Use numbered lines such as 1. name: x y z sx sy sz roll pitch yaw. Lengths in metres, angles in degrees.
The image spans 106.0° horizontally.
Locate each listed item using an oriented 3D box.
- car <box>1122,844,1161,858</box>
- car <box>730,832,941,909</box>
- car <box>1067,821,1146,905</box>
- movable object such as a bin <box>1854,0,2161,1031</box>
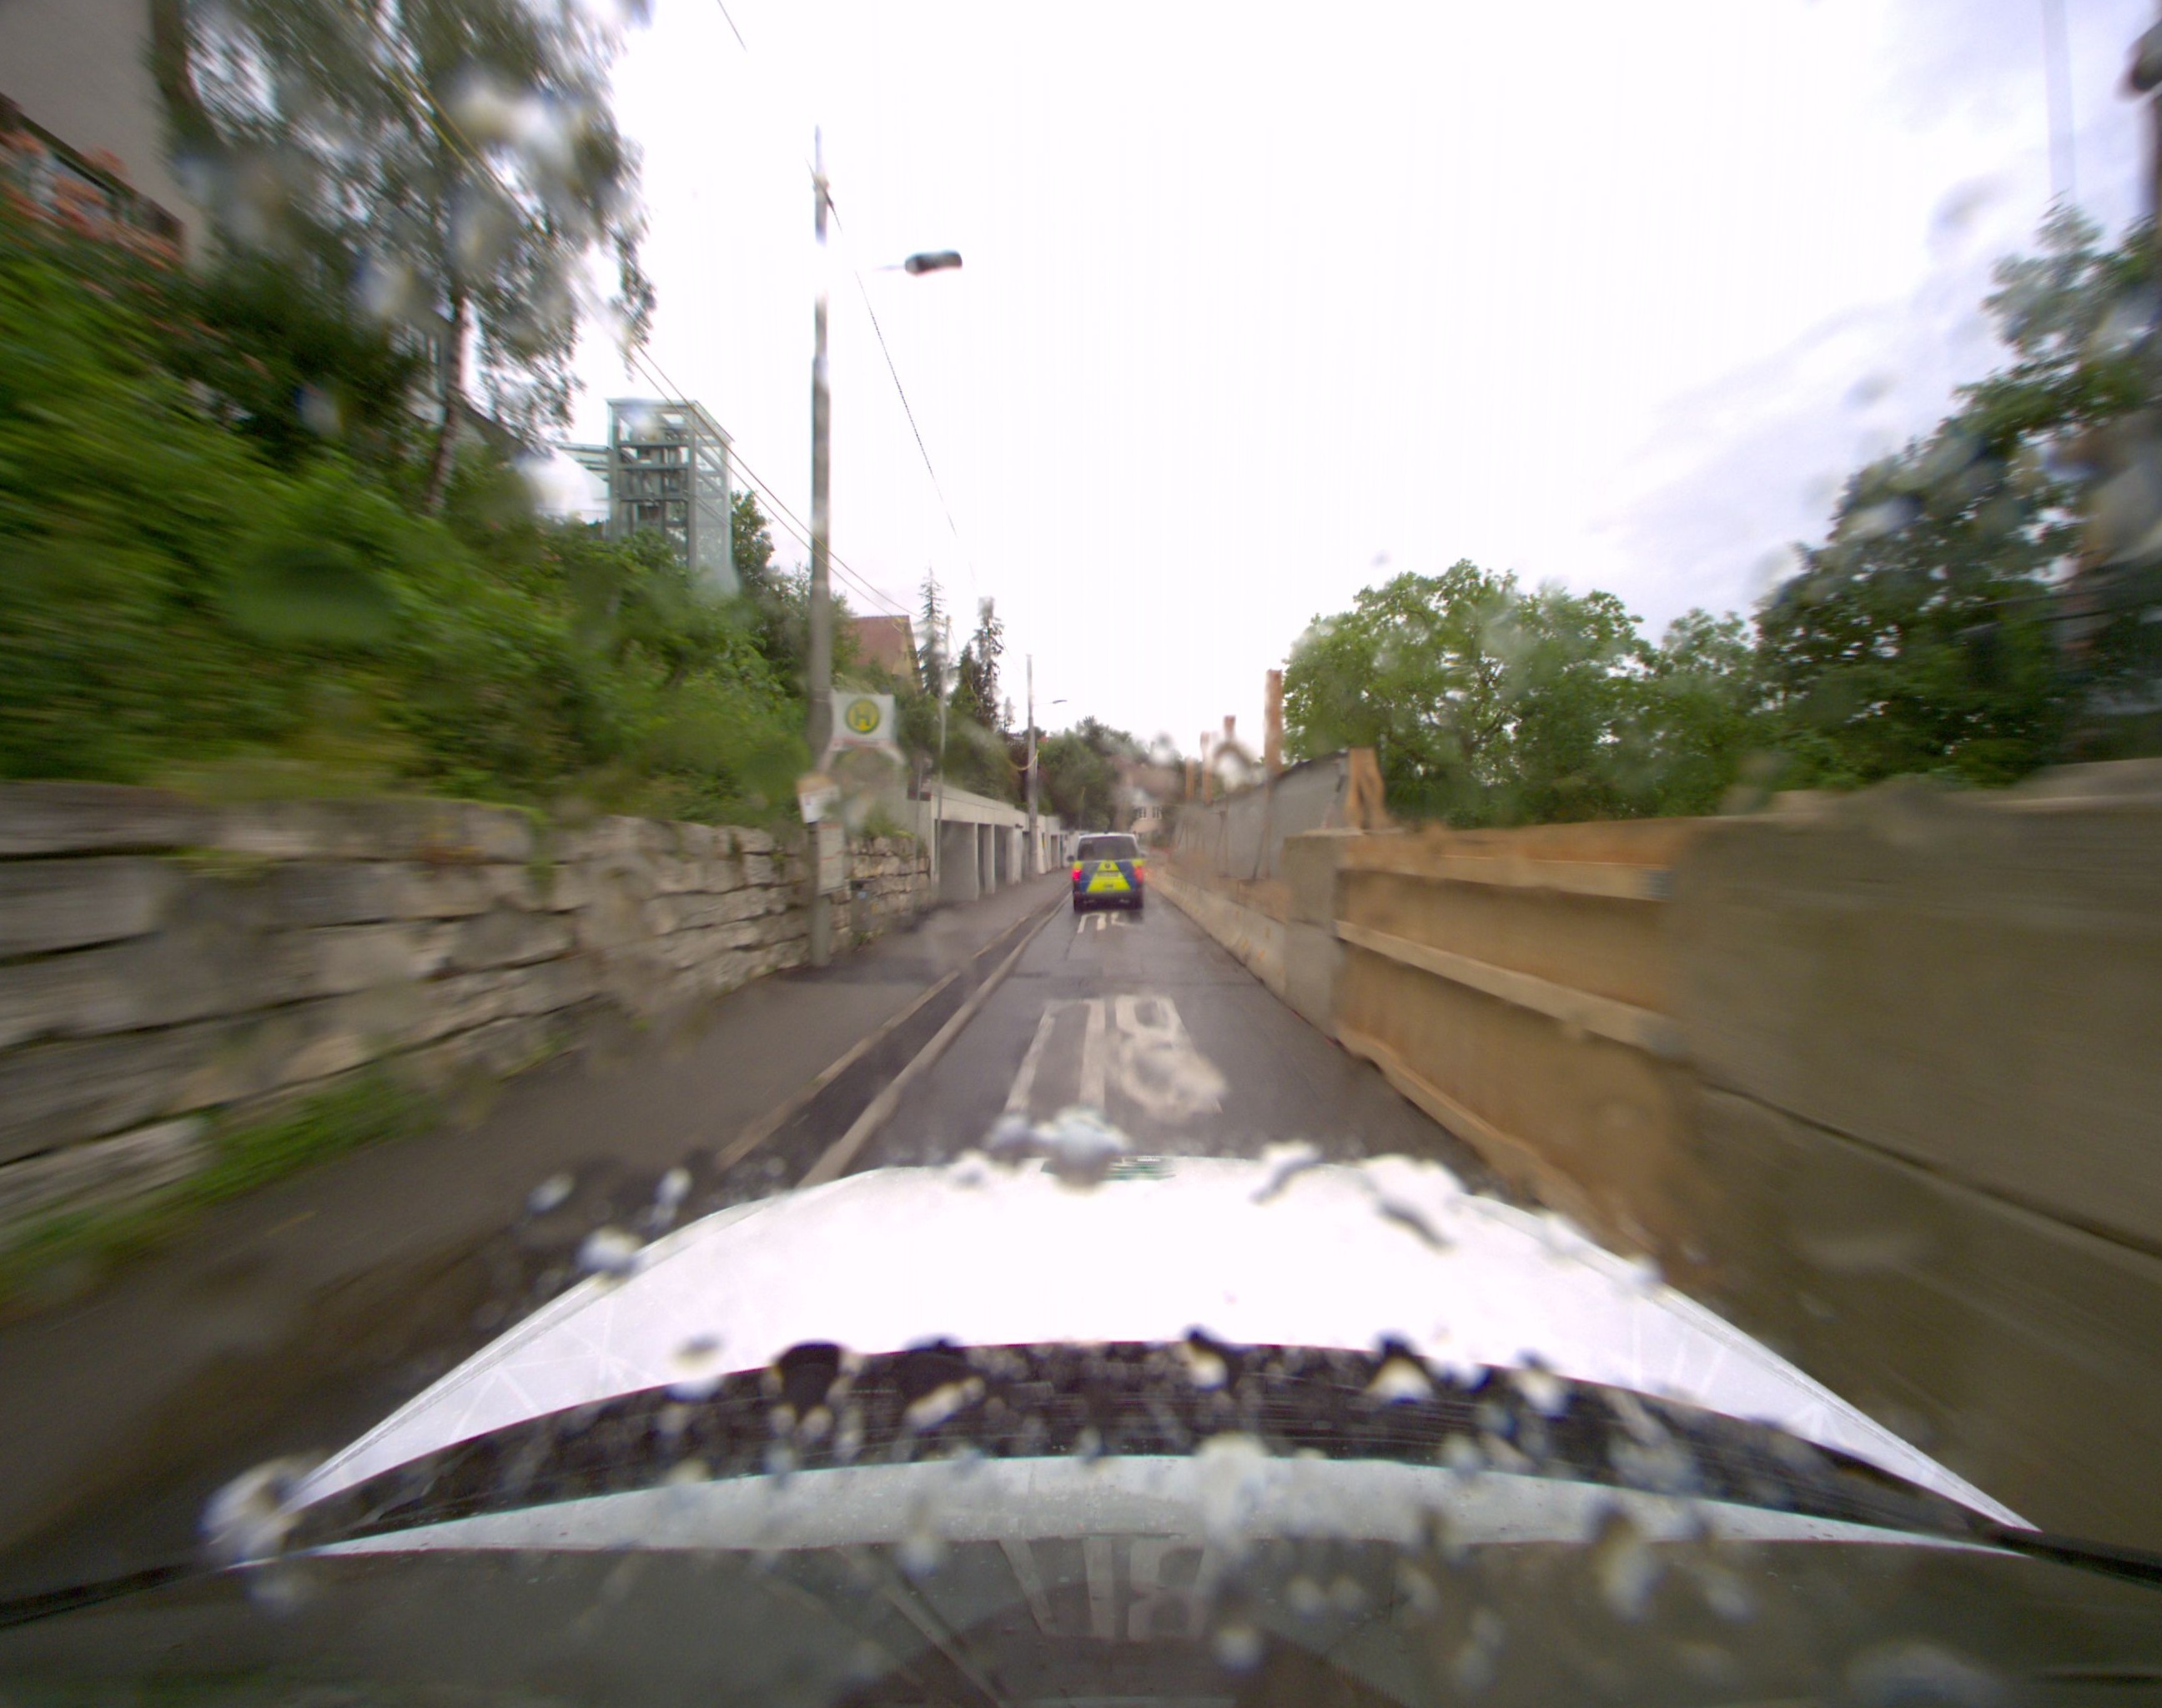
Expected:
1. car: 6.685 -0.352 90.490 3.949 1.517 1.739 1 0 32
2. car: -5.800 0.377 19.702 4.385 1.706 2.111 1 0 1
3. car: 0.697 0.219 22.100 1.901 2.010 4.441 1 0 2
4. movable object such as a bin: 6.208 -1.799 2.641 3.647 5.066 7.207 -1 0 30
